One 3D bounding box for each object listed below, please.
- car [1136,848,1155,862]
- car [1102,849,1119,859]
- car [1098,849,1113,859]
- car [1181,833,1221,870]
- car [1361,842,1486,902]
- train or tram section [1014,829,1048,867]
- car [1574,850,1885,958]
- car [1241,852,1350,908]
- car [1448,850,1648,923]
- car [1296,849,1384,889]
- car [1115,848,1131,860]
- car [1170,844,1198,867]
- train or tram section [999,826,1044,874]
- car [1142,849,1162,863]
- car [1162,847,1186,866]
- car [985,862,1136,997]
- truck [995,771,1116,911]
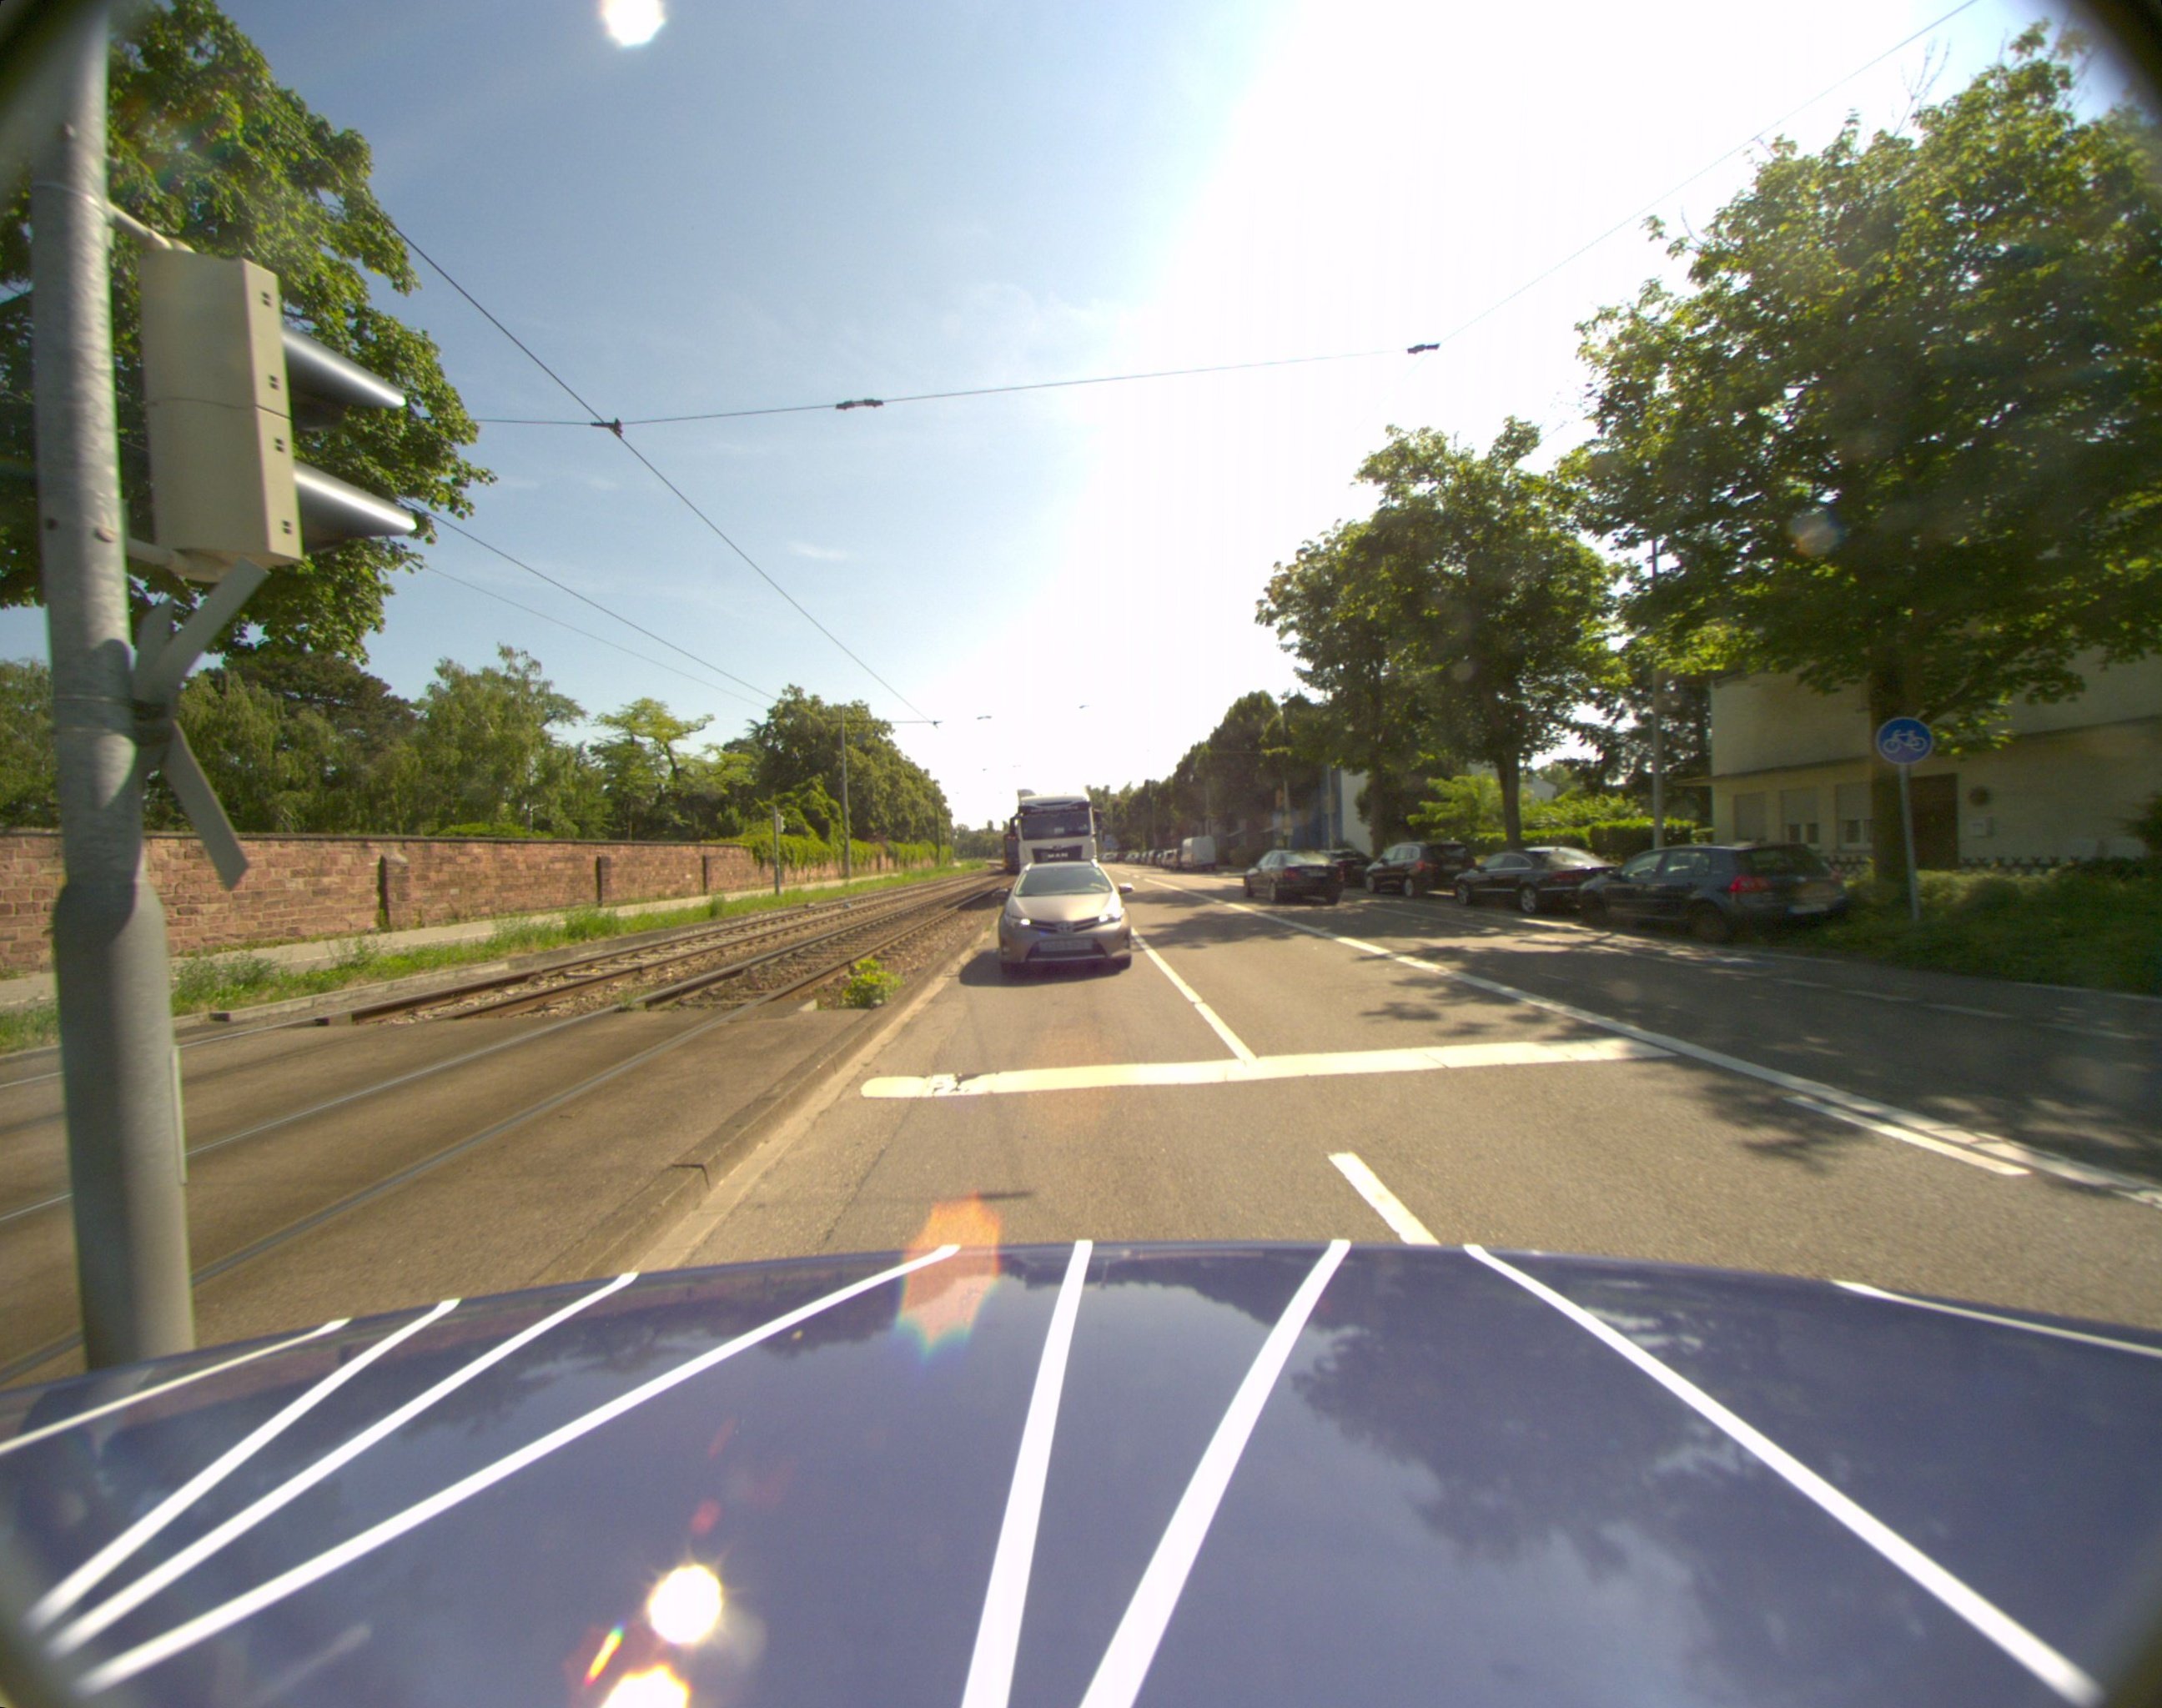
[{"bbox_3d":[8.095,0.124,96.276,1.679,1.493,3.764,-5,1,-4],"label":"car"},{"bbox_3d":[4.700,-0.002,121.688,1.680,1.493,3.763,-5,1,-12],"label":"car"},{"bbox_3d":[4.066,-0.047,126.886,1.680,1.493,3.763,-5,1,-12],"label":"car"},{"bbox_3d":[9.492,-0.197,60.649,2.016,2.636,6.085,-5,0,-1],"label":"car"},{"bbox_3d":[10.171,0.486,22.932,1.679,1.603,4.241,-1,0,-3],"label":"car"},{"bbox_3d":[-5.320,-0.716,84.047,2.680,3.631,18.952,-4,1,-1],"label":"train or tram section"},{"bbox_3d":[10.198,0.674,12.436,1.619,1.442,4.082,-1,0,0],"label":"car"},{"bbox_3d":[5.850,0.646,21.255,1.790,1.401,4.304,0,0,-1],"label":"car"},{"bbox_3d":[10.339,0.623,17.307,1.701,1.387,4.580,-1,1,-1],"label":"car"},{"bbox_3d":[9.992,0.529,29.676,1.679,1.427,4.456,-1,0,-3],"label":"car"},{"bbox_3d":[6.239,0.003,113.729,1.680,1.493,3.764,-5,1,-7],"label":"car"},{"bbox_3d":[9.328,0.128,68.979,1.679,1.925,4.457,-5,1,-1],"label":"car"},{"bbox_3d":[-5.027,-0.421,66.950,2.677,3.631,15.301,-4,1,-1],"label":"train or tram section"},{"bbox_3d":[8.487,0.183,90.924,1.679,1.493,3.764,-5,1,-4],"label":"car"},{"bbox_3d":[9.108,0.183,74.620,1.679,1.659,4.147,-5,1,-1],"label":"car"},{"bbox_3d":[-0.269,0.925,11.067,1.720,1.439,4.029,-3,1,-1],"label":"car"},{"bbox_3d":[-0.885,-0.499,30.217,3.391,4.046,14.282,-4,1,-1],"label":"truck"}]
